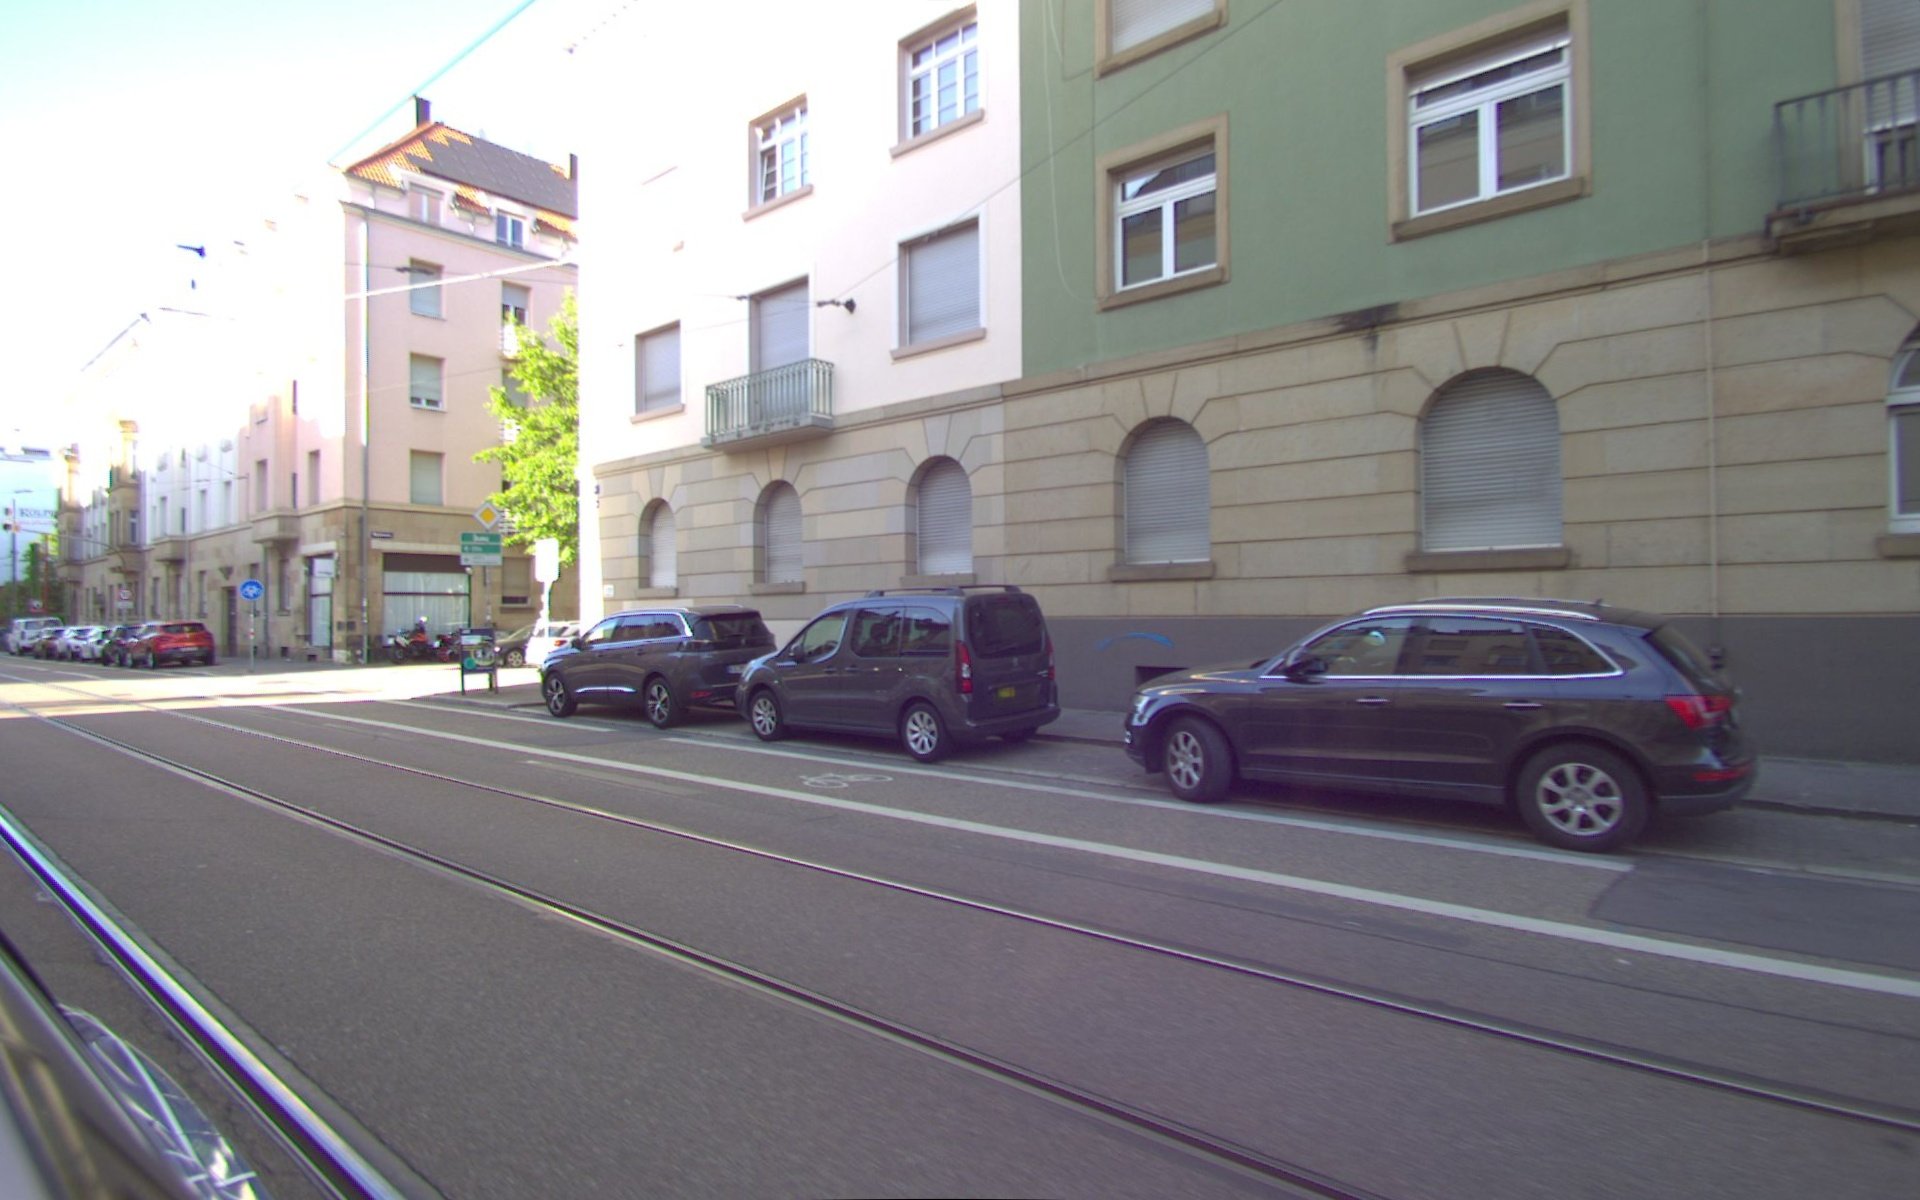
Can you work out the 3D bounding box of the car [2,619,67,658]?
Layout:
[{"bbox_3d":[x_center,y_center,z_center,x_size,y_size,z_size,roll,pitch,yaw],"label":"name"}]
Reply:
[{"bbox_3d":[-50.963,2.100,55.684,5.247,1.963,1.953,-2,0,40],"label":"car"}]

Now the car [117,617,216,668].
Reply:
[{"bbox_3d":[-27.776,1.476,35.377,4.392,1.618,1.766,-2,0,39],"label":"car"}]

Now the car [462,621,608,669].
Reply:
[{"bbox_3d":[-13.481,1.406,32.281,1.746,1.405,3.947,-4,-3,40],"label":"car"}]

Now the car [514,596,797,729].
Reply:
[{"bbox_3d":[-4.745,0.870,15.408,4.662,1.703,1.766,-2,0,39],"label":"car"}]

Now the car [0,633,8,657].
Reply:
[{"bbox_3d":[-65.068,3.014,67.639,4.610,1.577,1.764,-2,0,43],"label":"car"}]

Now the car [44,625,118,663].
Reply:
[{"bbox_3d":[-39.634,1.970,45.624,4.360,1.558,1.755,-2,0,39],"label":"car"}]

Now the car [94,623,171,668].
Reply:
[{"bbox_3d":[-31.376,1.694,38.352,3.017,1.564,1.765,-2,0,41],"label":"car"}]

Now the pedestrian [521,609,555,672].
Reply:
[{"bbox_3d":[-11.806,1.134,28.314,0.731,1.725,0.600,-2,-2,40],"label":"pedestrian"}]

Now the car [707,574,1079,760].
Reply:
[{"bbox_3d":[-0.956,0.699,12.160,4.526,1.830,1.764,-2,0,42],"label":"car"}]

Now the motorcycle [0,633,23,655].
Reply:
[{"bbox_3d":[-59.870,2.750,63.489,0.871,1.361,1.963,-1,-1,-17],"label":"motorcycle"}]

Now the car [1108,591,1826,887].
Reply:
[{"bbox_3d":[3.622,0.836,7.860,4.603,1.639,1.766,-2,0,39],"label":"car"}]

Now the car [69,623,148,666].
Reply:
[{"bbox_3d":[-35.843,1.847,42.571,4.174,1.634,1.766,-2,0,39],"label":"car"}]

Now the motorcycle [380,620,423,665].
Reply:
[{"bbox_3d":[-18.296,1.375,33.202,0.934,1.429,2.032,0,-1,-19],"label":"motorcycle"}]

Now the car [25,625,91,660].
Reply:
[{"bbox_3d":[-43.695,2.048,48.991,4.356,1.535,1.765,-2,0,40],"label":"car"}]

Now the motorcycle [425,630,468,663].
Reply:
[{"bbox_3d":[-17.340,1.557,34.220,0.549,1.043,2.037,-1,-1,-3],"label":"motorcycle"}]

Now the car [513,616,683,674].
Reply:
[{"bbox_3d":[-10.020,1.233,28.249,1.781,1.476,4.174,-4,-3,40],"label":"car"}]
